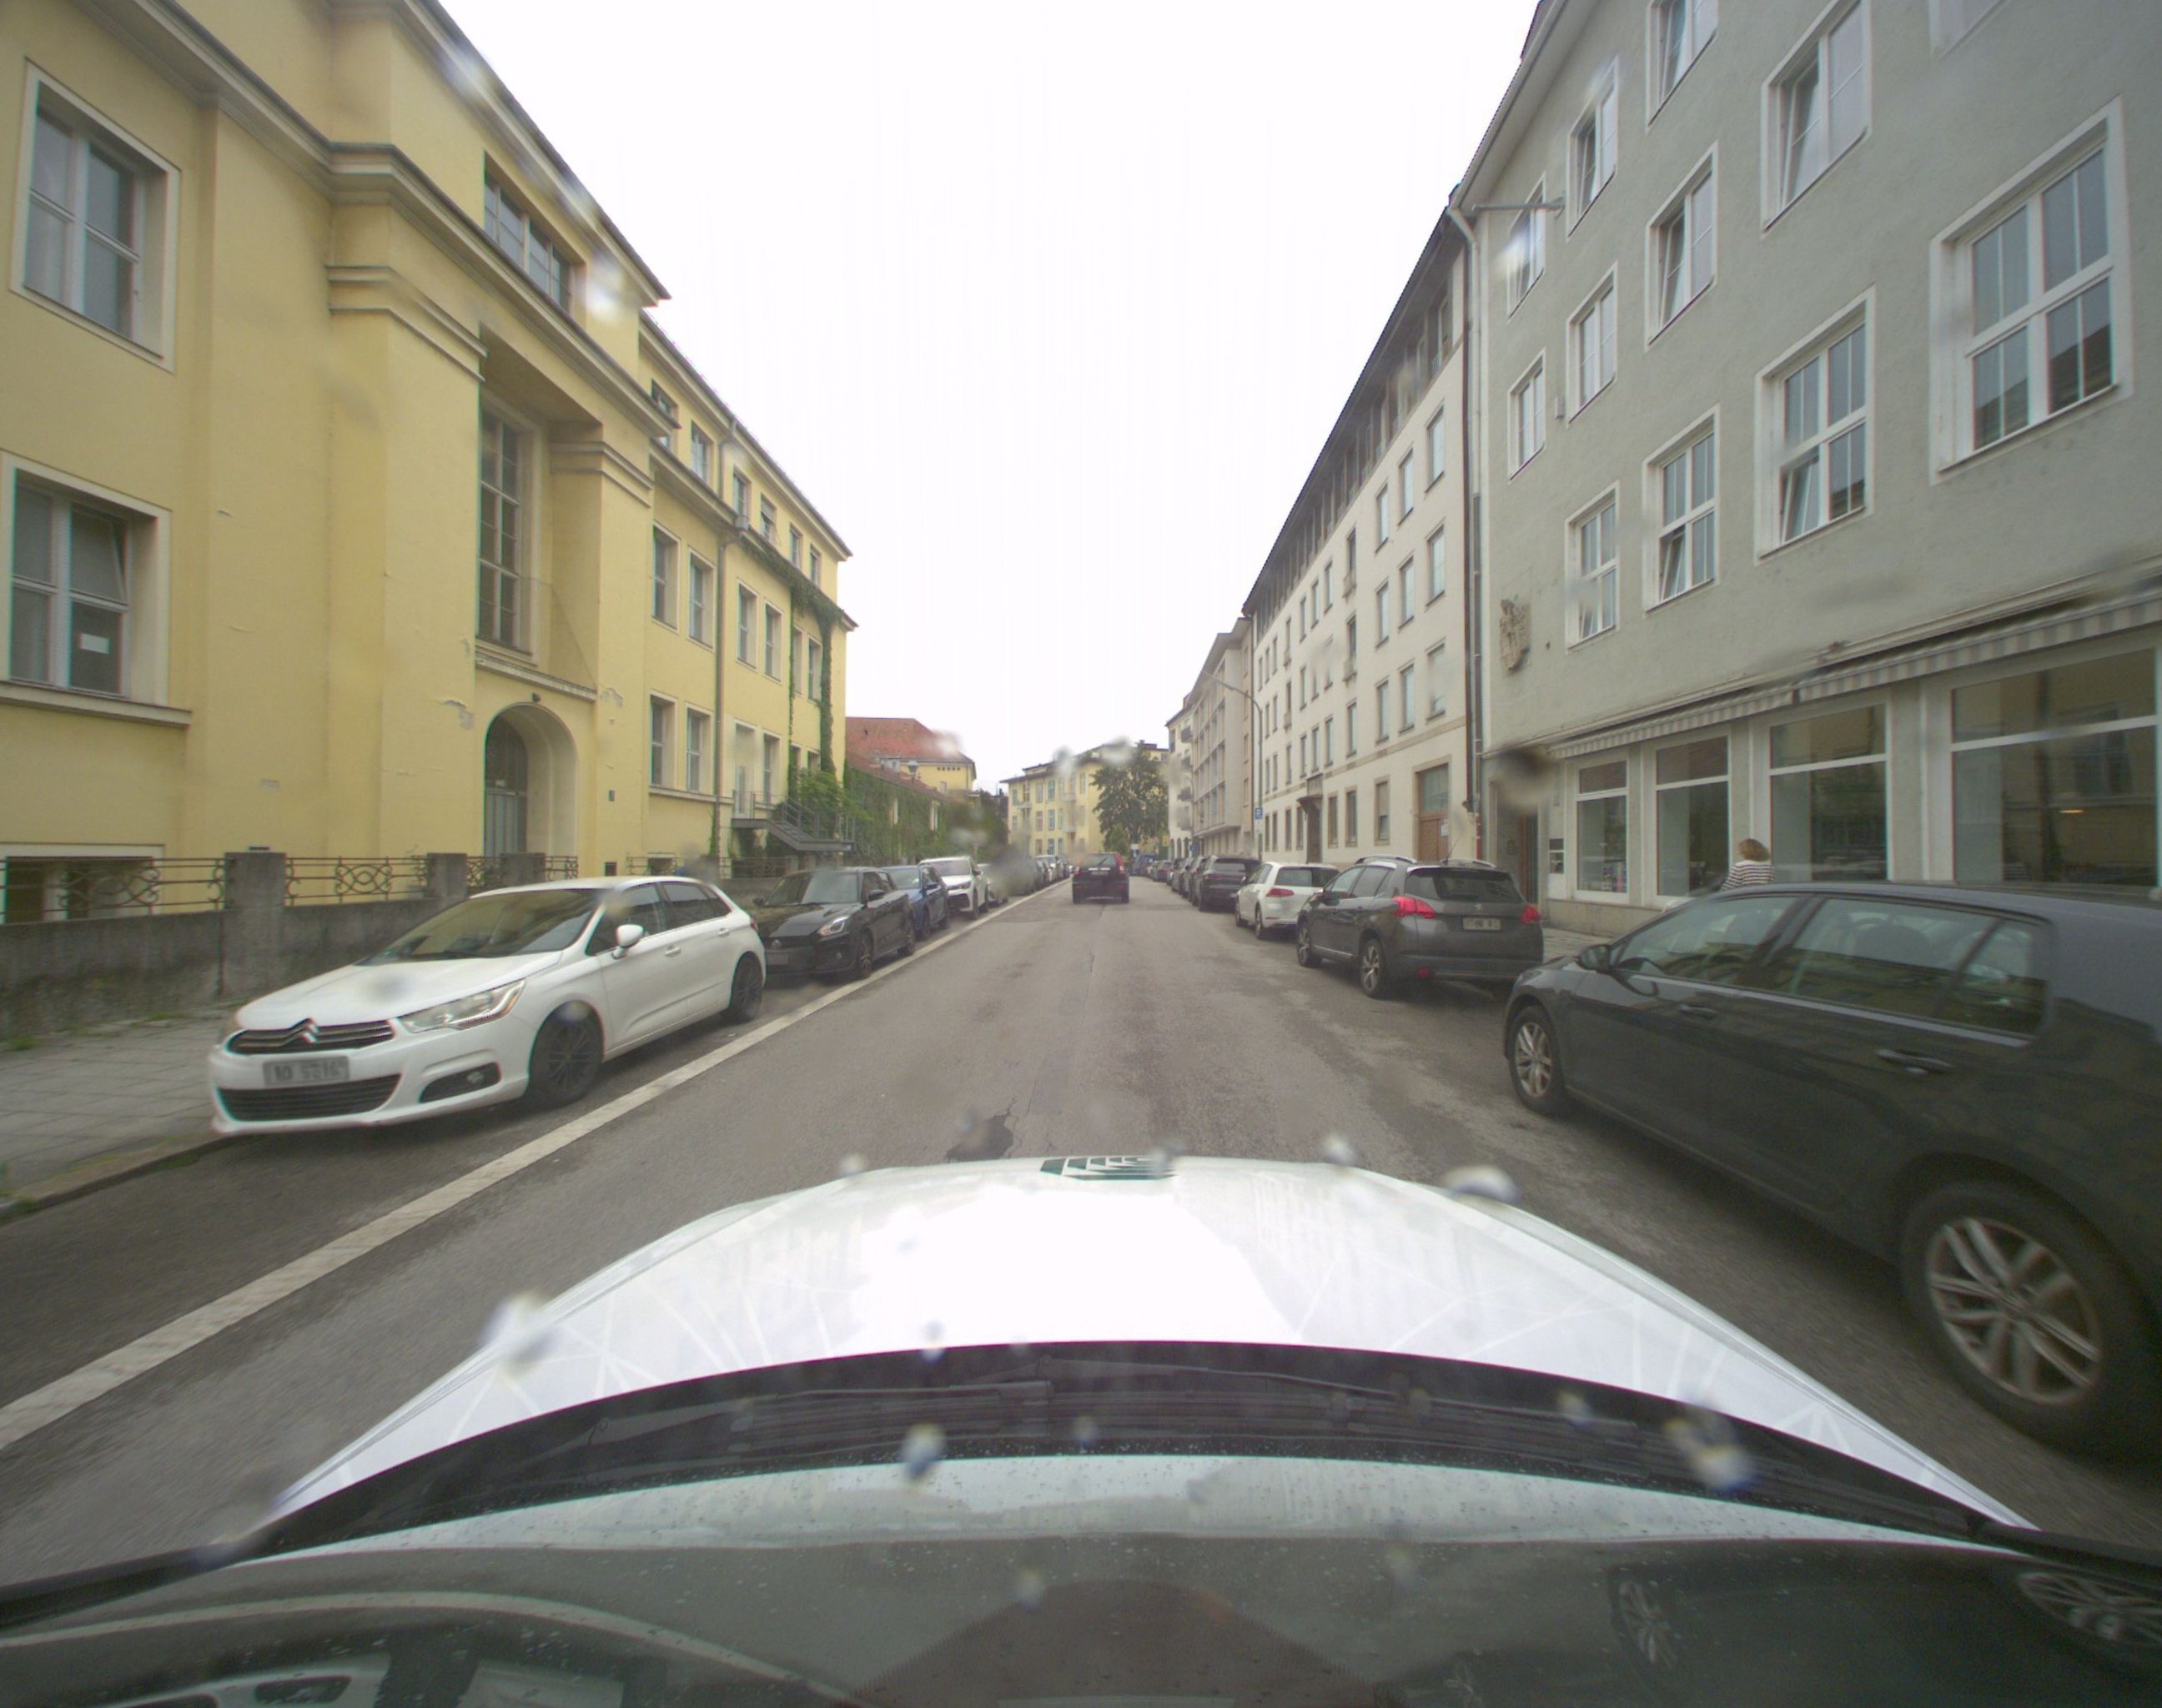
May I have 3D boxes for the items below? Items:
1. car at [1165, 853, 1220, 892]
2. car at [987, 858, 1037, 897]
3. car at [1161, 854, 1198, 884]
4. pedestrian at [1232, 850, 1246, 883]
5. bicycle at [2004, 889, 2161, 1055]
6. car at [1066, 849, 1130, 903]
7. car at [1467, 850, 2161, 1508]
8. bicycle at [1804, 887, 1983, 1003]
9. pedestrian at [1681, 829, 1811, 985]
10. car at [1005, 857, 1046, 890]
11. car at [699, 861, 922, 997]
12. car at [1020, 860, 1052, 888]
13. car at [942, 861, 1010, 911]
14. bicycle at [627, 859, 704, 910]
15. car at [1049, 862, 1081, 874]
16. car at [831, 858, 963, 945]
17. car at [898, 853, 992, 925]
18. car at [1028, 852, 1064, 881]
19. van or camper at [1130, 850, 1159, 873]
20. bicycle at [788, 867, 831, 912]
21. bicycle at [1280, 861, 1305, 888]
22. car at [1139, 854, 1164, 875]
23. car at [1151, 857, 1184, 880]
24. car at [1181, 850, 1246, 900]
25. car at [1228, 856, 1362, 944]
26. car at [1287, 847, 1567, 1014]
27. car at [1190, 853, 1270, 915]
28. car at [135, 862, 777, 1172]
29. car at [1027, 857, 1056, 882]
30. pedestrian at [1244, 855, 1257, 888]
[{"bbox_3d":[4.717,0.734,34.983,1.849,1.544,4.818,-1,0,2],"label":"car"},{"bbox_3d":[-2.900,0.975,34.957,1.776,1.538,4.195,0,0,0],"label":"car"},{"bbox_3d":[5.320,0.797,44.364,1.665,1.535,3.883,0,0,2],"label":"car"},{"bbox_3d":[8.168,0.645,42.050,0.594,1.654,0.631,-1,0,2],"label":"pedestrian"},{"bbox_3d":[7.683,0.817,5.245,0.766,1.075,2.460,0,0,2],"label":"bicycle"},{"bbox_3d":[0.662,0.686,27.466,1.987,1.694,4.384,0,0,3],"label":"car"},{"bbox_3d":[3.372,0.764,3.509,1.685,1.451,4.087,2,0,4],"label":"car"},{"bbox_3d":[8.164,0.870,8.266,0.329,1.004,1.522,-1,0,3],"label":"bicycle"},{"bbox_3d":[7.304,0.555,8.982,0.731,1.625,0.828,-1,-1,2],"label":"pedestrian"},{"bbox_3d":[-2.713,0.951,40.668,1.776,1.538,4.148,0,0,0],"label":"car"},{"bbox_3d":[-3.573,0.902,11.574,1.673,1.495,3.987,-3,0,2],"label":"car"},{"bbox_3d":[-2.513,1.086,45.922,1.573,1.455,3.904,0,0,0],"label":"car"},{"bbox_3d":[-3.395,1.000,27.017,1.674,1.426,3.894,-2,0,0],"label":"car"},{"bbox_3d":[-10.379,0.754,20.375,1.551,1.189,0.578,3,-1,0],"label":"bicycle"},{"bbox_3d":[-2.230,1.927,113.701,3.949,1.618,2.012,0,0,28],"label":"car"},{"bbox_3d":[-3.672,0.881,16.950,1.673,1.505,3.975,-3,0,2],"label":"car"},{"bbox_3d":[-3.477,0.836,21.554,1.674,1.634,4.356,-3,0,0],"label":"car"},{"bbox_3d":[-2.363,0.815,56.047,1.985,1.875,4.762,0,0,3],"label":"car"},{"bbox_3d":[6.323,0.697,81.609,2.056,2.231,5.430,-1,0,-4],"label":"van or camper"},{"bbox_3d":[-7.589,0.973,22.845,0.574,1.189,1.563,3,-1,3],"label":"bicycle"},{"bbox_3d":[9.230,0.881,35.601,0.656,1.126,2.029,-1,-1,2],"label":"bicycle"},{"bbox_3d":[6.538,0.946,76.068,1.958,1.816,4.934,0,0,0],"label":"car"},{"bbox_3d":[5.730,0.936,54.548,1.790,1.420,4.482,0,0,0],"label":"car"},{"bbox_3d":[4.564,0.696,28.543,1.771,1.584,4.274,-1,0,3],"label":"car"},{"bbox_3d":[4.130,0.820,16.345,1.686,1.464,4.085,2,0,2],"label":"car"},{"bbox_3d":[3.931,0.763,10.070,1.687,1.583,4.082,2,0,0],"label":"car"},{"bbox_3d":[4.152,0.782,23.287,1.770,1.584,4.334,0,0,4],"label":"car"},{"bbox_3d":[-4.102,0.890,6.380,1.717,1.527,4.088,-3,0,2],"label":"car"},{"bbox_3d":[-2.442,0.937,51.000,1.573,1.492,3.730,-1,0,0],"label":"car"},{"bbox_3d":[8.243,0.838,39.589,0.529,1.584,0.560,0,0,2],"label":"pedestrian"}]
